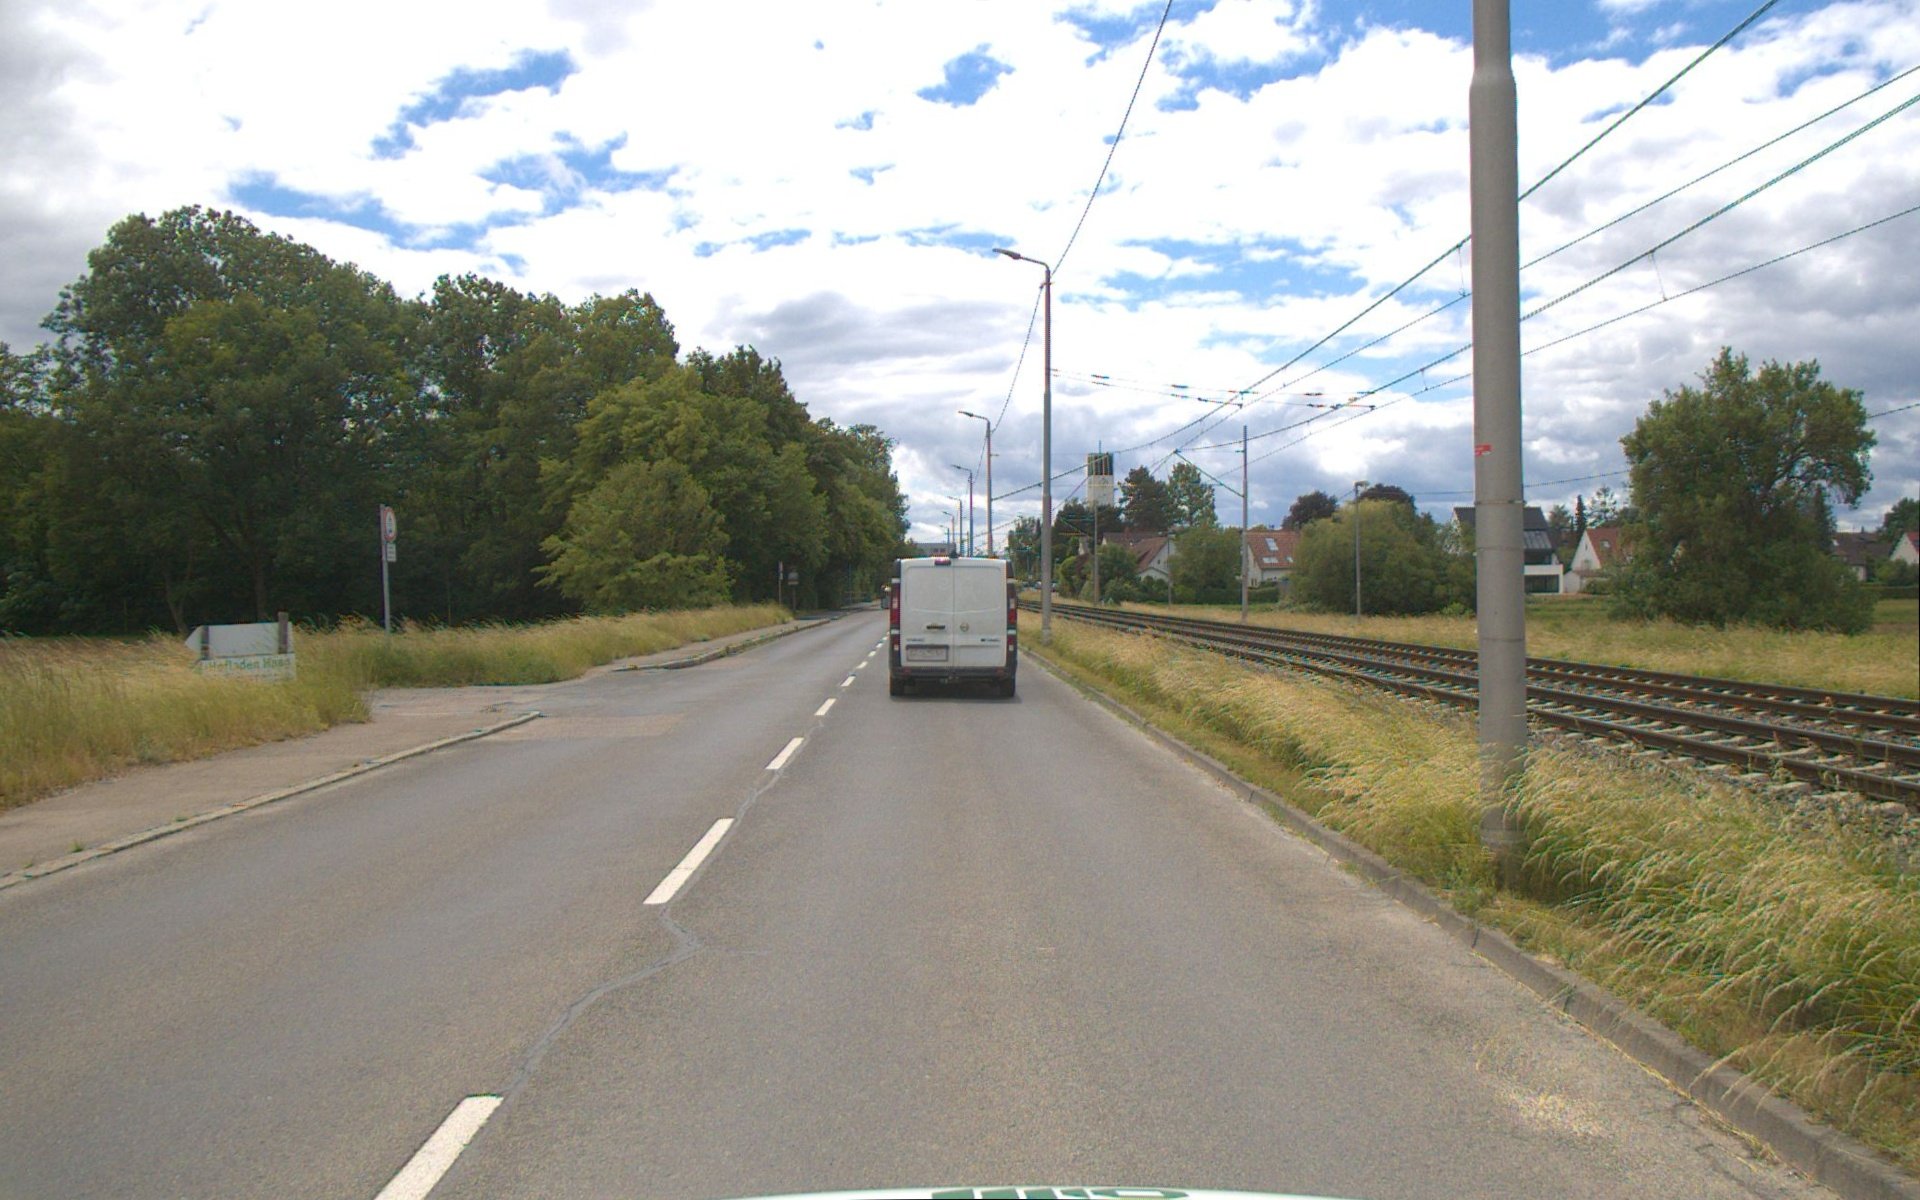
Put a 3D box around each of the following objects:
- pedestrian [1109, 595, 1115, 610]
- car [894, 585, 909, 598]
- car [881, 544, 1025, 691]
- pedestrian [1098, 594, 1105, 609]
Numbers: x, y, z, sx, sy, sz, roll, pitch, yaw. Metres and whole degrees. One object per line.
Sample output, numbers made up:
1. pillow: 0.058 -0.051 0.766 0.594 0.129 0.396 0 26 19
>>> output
1. pedestrian: 15.781 0.270 172.144 0.515 1.532 0.656 0 0 -2
2. car: -8.305 -1.223 234.399 1.953 1.747 4.123 -1 0 -1
3. car: -0.166 0.248 24.709 1.953 1.991 3.998 1 0 -2
4. pedestrian: 14.930 0.162 174.241 0.643 1.532 0.656 0 0 -2
